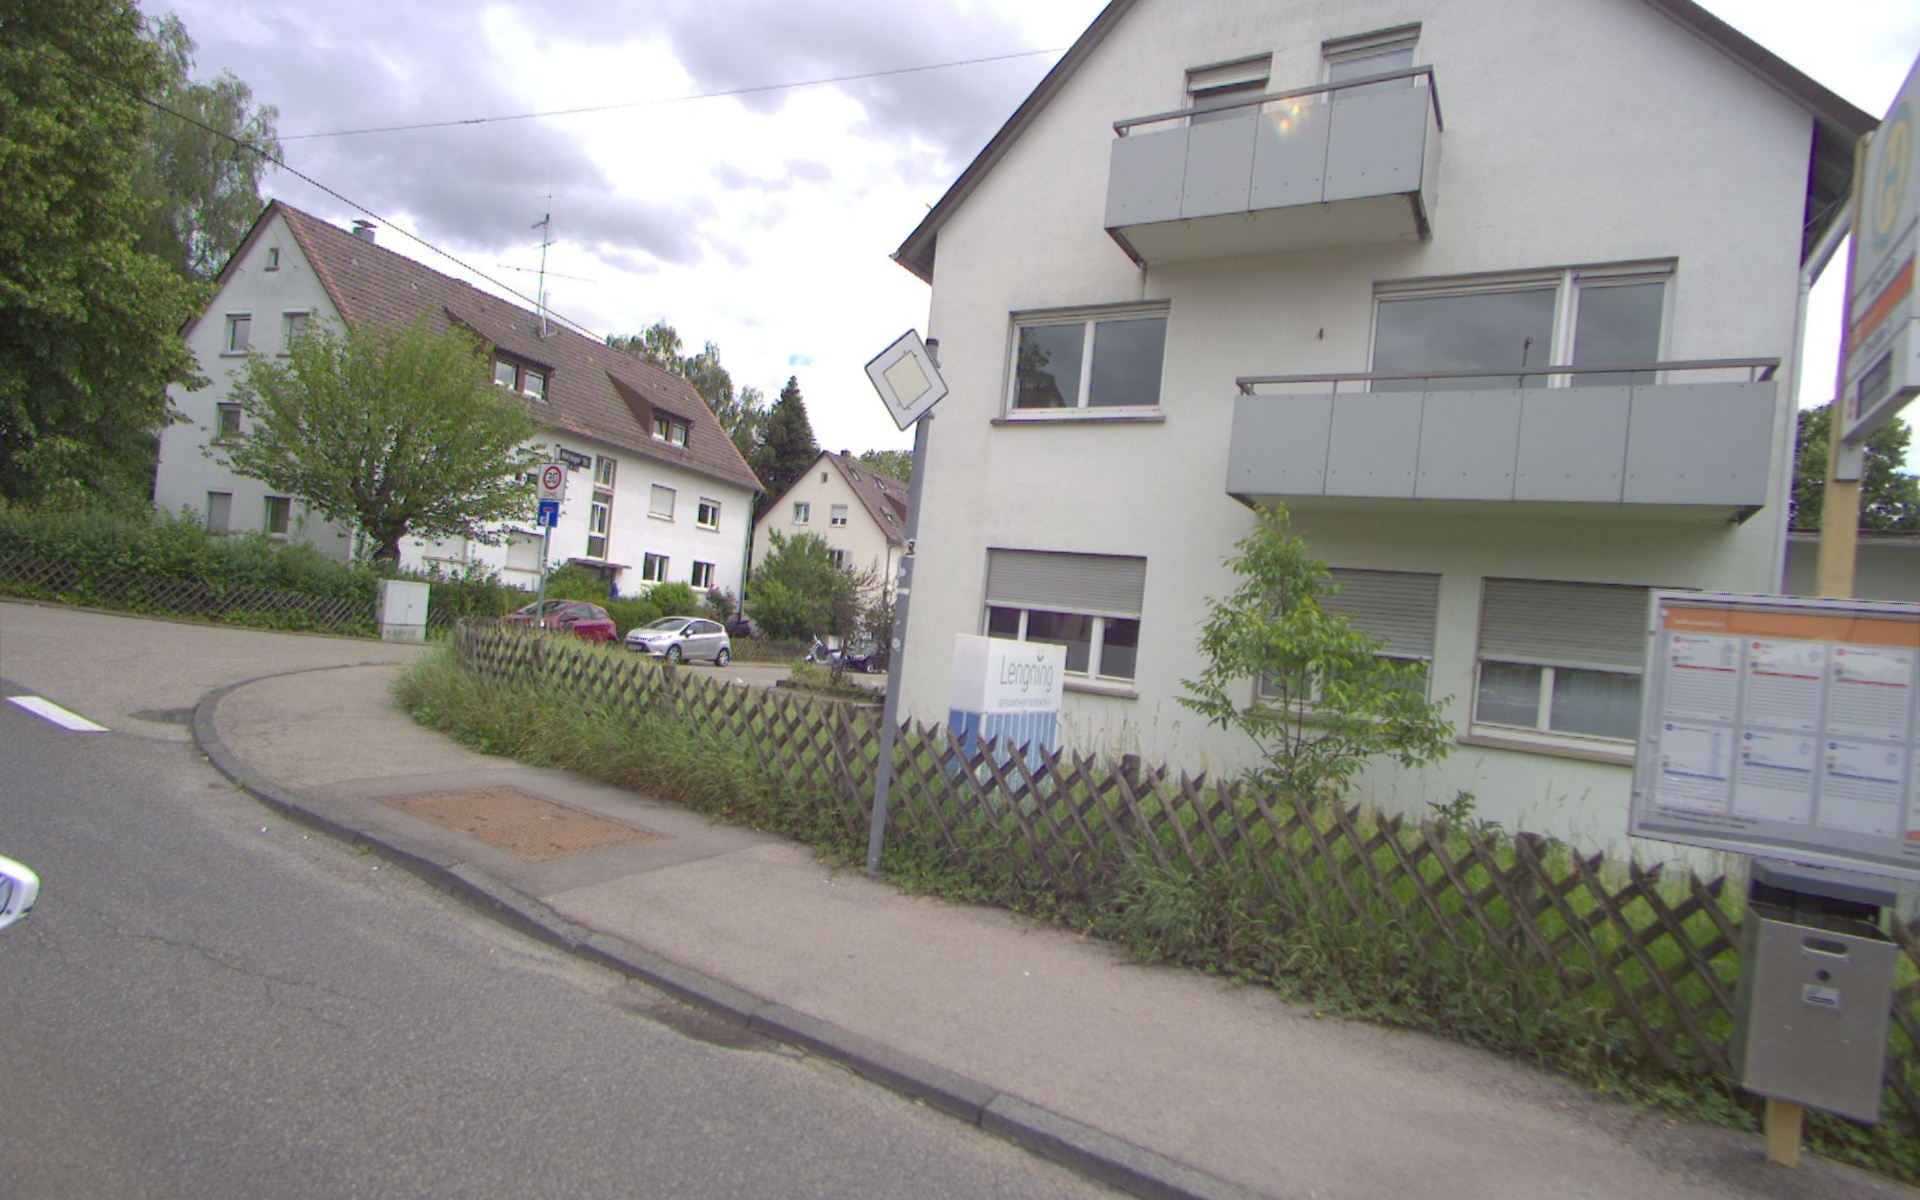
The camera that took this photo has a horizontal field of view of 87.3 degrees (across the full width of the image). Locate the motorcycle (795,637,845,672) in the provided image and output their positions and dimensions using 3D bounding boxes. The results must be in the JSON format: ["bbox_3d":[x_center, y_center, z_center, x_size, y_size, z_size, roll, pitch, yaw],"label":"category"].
[{"bbox_3d":[-5.451,2.109,39.230,1.789,1.151,0.536,7,-2,-13],"label":"motorcycle"}]

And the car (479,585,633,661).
[{"bbox_3d":[-10.388,0.648,26.176,1.656,1.580,3.715,4,-4,17],"label":"car"}]

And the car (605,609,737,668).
[{"bbox_3d":[-8.676,1.217,30.509,1.810,1.384,3.743,5,-4,23],"label":"car"}]

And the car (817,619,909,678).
[{"bbox_3d":[-4.017,2.082,42.267,1.964,2.036,4.002,6,-3,24],"label":"car"}]
